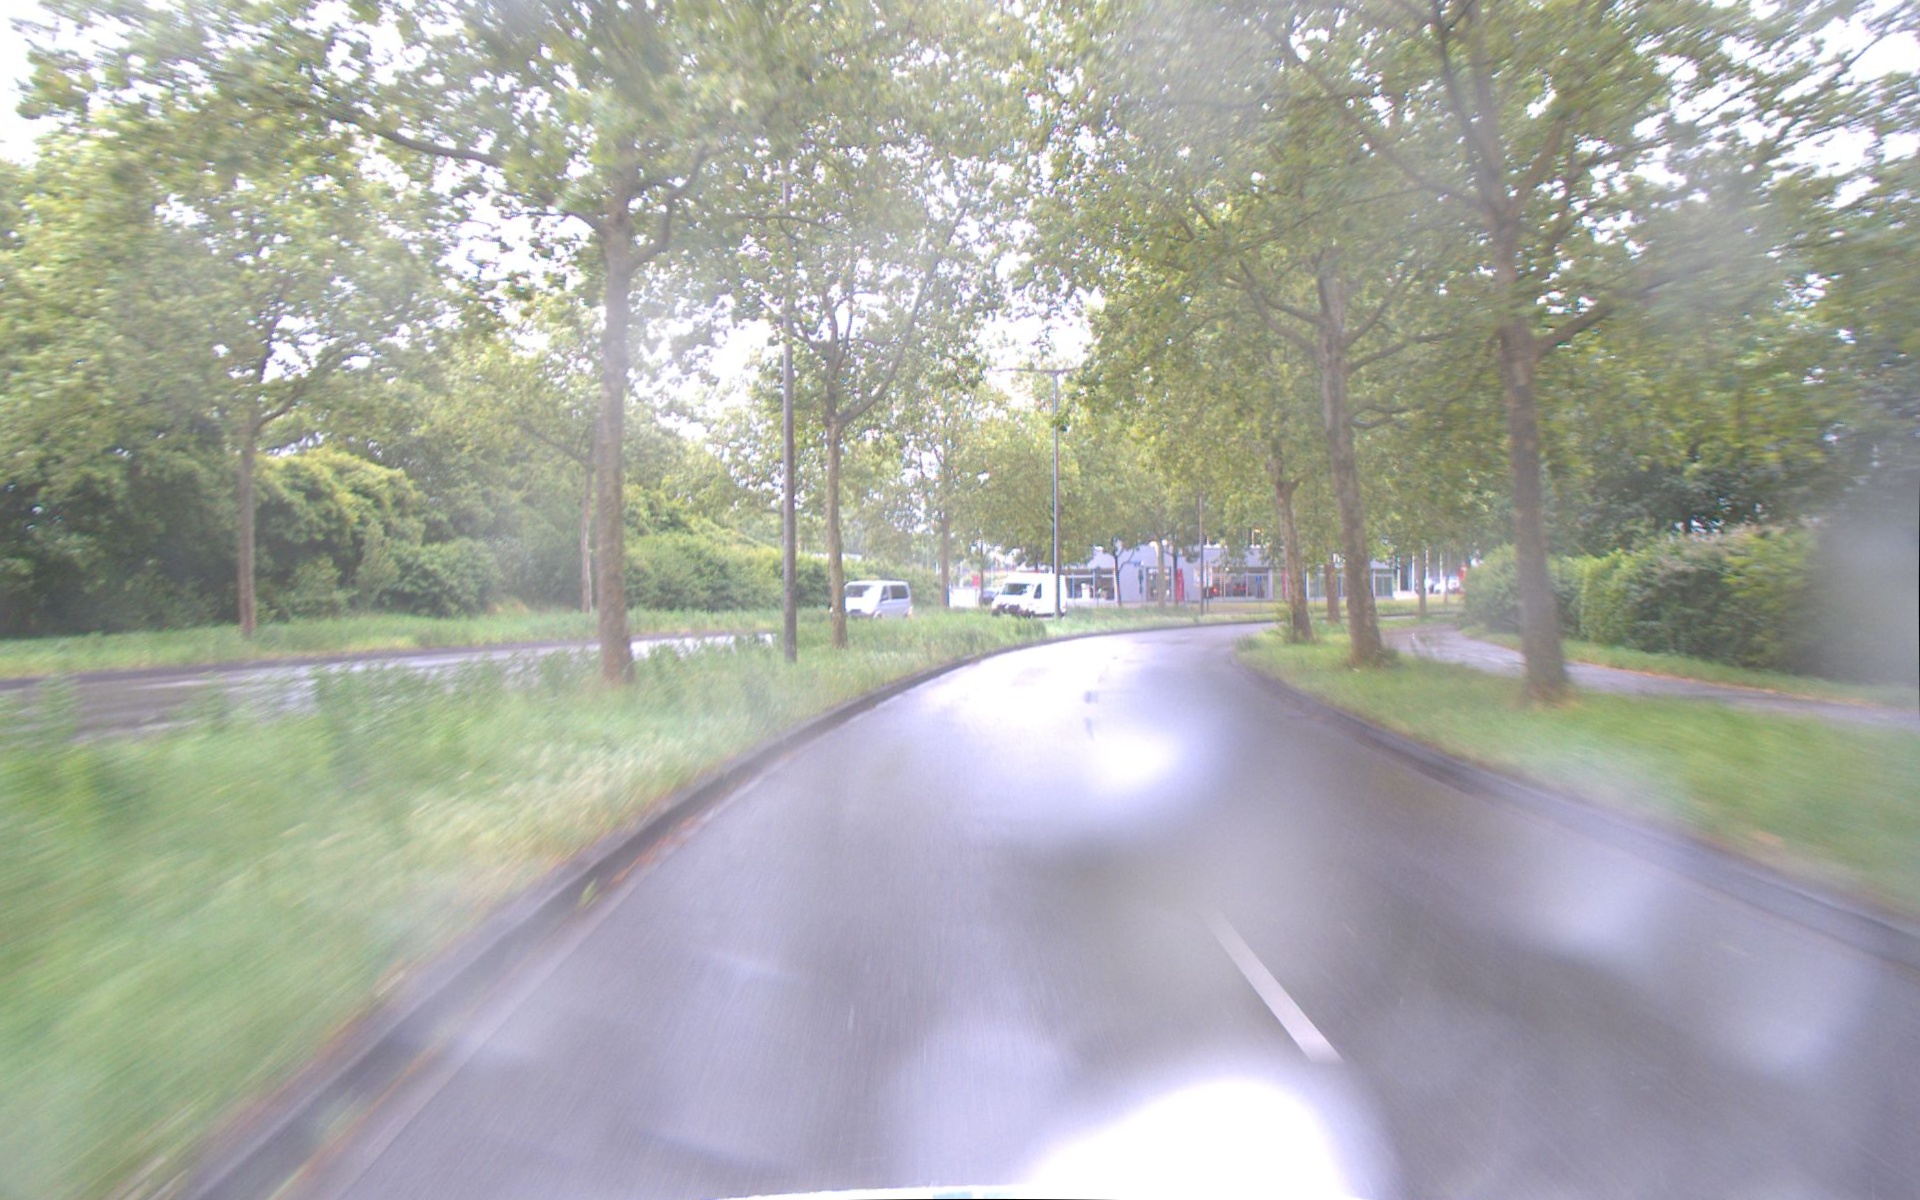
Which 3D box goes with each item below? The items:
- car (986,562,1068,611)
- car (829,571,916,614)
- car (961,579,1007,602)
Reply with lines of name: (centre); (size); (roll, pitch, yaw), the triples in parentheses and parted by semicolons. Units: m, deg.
car: (3.383, -0.698, 81.951); (2.235, 2.311, 5.968); (-1, 1, 21)
car: (-3.351, -0.315, 64.427); (1.930, 1.591, 4.734); (-1, 1, 16)
car: (2.162, -0.850, 150.560); (3.912, 2.049, 1.996); (-1, -1, -8)
